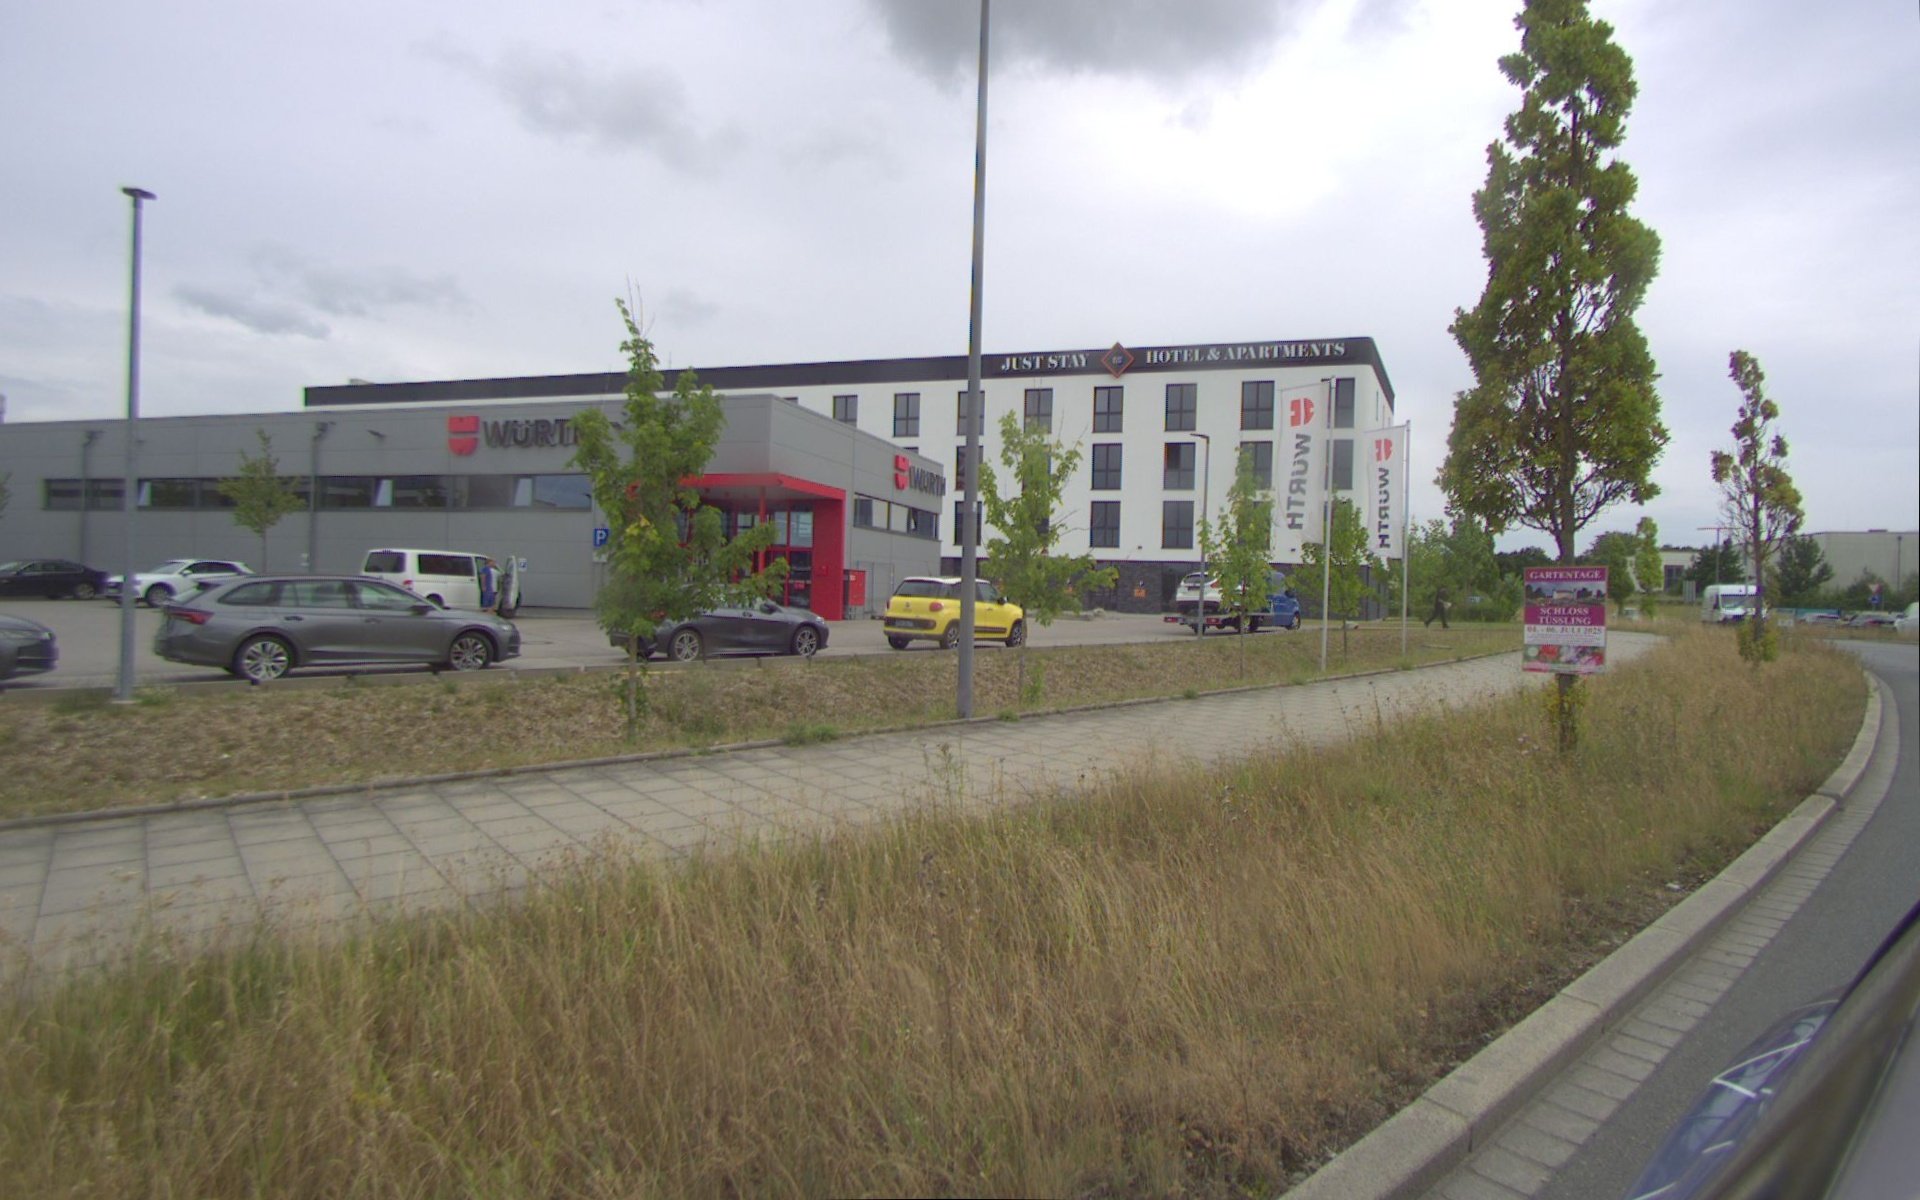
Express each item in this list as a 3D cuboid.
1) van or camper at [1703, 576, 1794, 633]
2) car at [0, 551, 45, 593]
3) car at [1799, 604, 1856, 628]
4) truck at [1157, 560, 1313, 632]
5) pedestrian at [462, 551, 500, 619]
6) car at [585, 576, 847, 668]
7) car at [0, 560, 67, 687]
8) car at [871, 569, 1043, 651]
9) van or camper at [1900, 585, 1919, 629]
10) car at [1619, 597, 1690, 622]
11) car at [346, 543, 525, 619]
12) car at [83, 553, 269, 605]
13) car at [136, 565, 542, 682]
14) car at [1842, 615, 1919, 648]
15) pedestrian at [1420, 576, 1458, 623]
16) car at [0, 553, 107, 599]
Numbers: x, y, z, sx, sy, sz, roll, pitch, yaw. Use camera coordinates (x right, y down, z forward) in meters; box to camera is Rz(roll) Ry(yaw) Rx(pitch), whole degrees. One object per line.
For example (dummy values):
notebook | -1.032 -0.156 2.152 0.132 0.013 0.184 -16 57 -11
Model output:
van or camper | 39.624 0.179 51.017 2.241 2.649 5.650 2 1 24
car | -37.152 -1.064 37.399 2.056 1.538 4.546 2 2 20
car | 53.138 0.972 62.078 1.771 1.338 3.962 1 1 27
truck | 10.182 -0.139 36.790 2.224 2.355 8.093 2 1 40
pedestrian | -13.542 -0.430 28.615 0.796 1.892 0.607 1 0 33
car | -4.516 0.304 19.244 1.994 1.515 4.536 2 2 43
car | -13.102 0.237 11.229 4.749 1.478 1.964 1 1 -43
car | 0.036 0.196 23.671 1.758 1.707 4.353 2 1 37
van or camper | 45.115 0.363 46.242 1.936 2.033 5.075 2 1 29
car | 48.738 0.642 71.131 1.959 1.605 4.006 0 1 -7
car | -15.038 -0.540 29.343 1.973 2.012 4.611 1 1 17
car | -26.120 -0.701 33.906 2.056 1.538 4.546 2 2 20
car | -8.951 0.280 14.920 4.800 1.455 1.865 0 1 -45
car | 48.320 1.602 53.006 2.153 1.501 4.854 2 1 29
pedestrian | 19.647 -0.045 41.515 1.188 1.880 1.060 2 2 37
car | -33.323 -0.859 35.729 2.053 1.538 4.551 2 2 17
